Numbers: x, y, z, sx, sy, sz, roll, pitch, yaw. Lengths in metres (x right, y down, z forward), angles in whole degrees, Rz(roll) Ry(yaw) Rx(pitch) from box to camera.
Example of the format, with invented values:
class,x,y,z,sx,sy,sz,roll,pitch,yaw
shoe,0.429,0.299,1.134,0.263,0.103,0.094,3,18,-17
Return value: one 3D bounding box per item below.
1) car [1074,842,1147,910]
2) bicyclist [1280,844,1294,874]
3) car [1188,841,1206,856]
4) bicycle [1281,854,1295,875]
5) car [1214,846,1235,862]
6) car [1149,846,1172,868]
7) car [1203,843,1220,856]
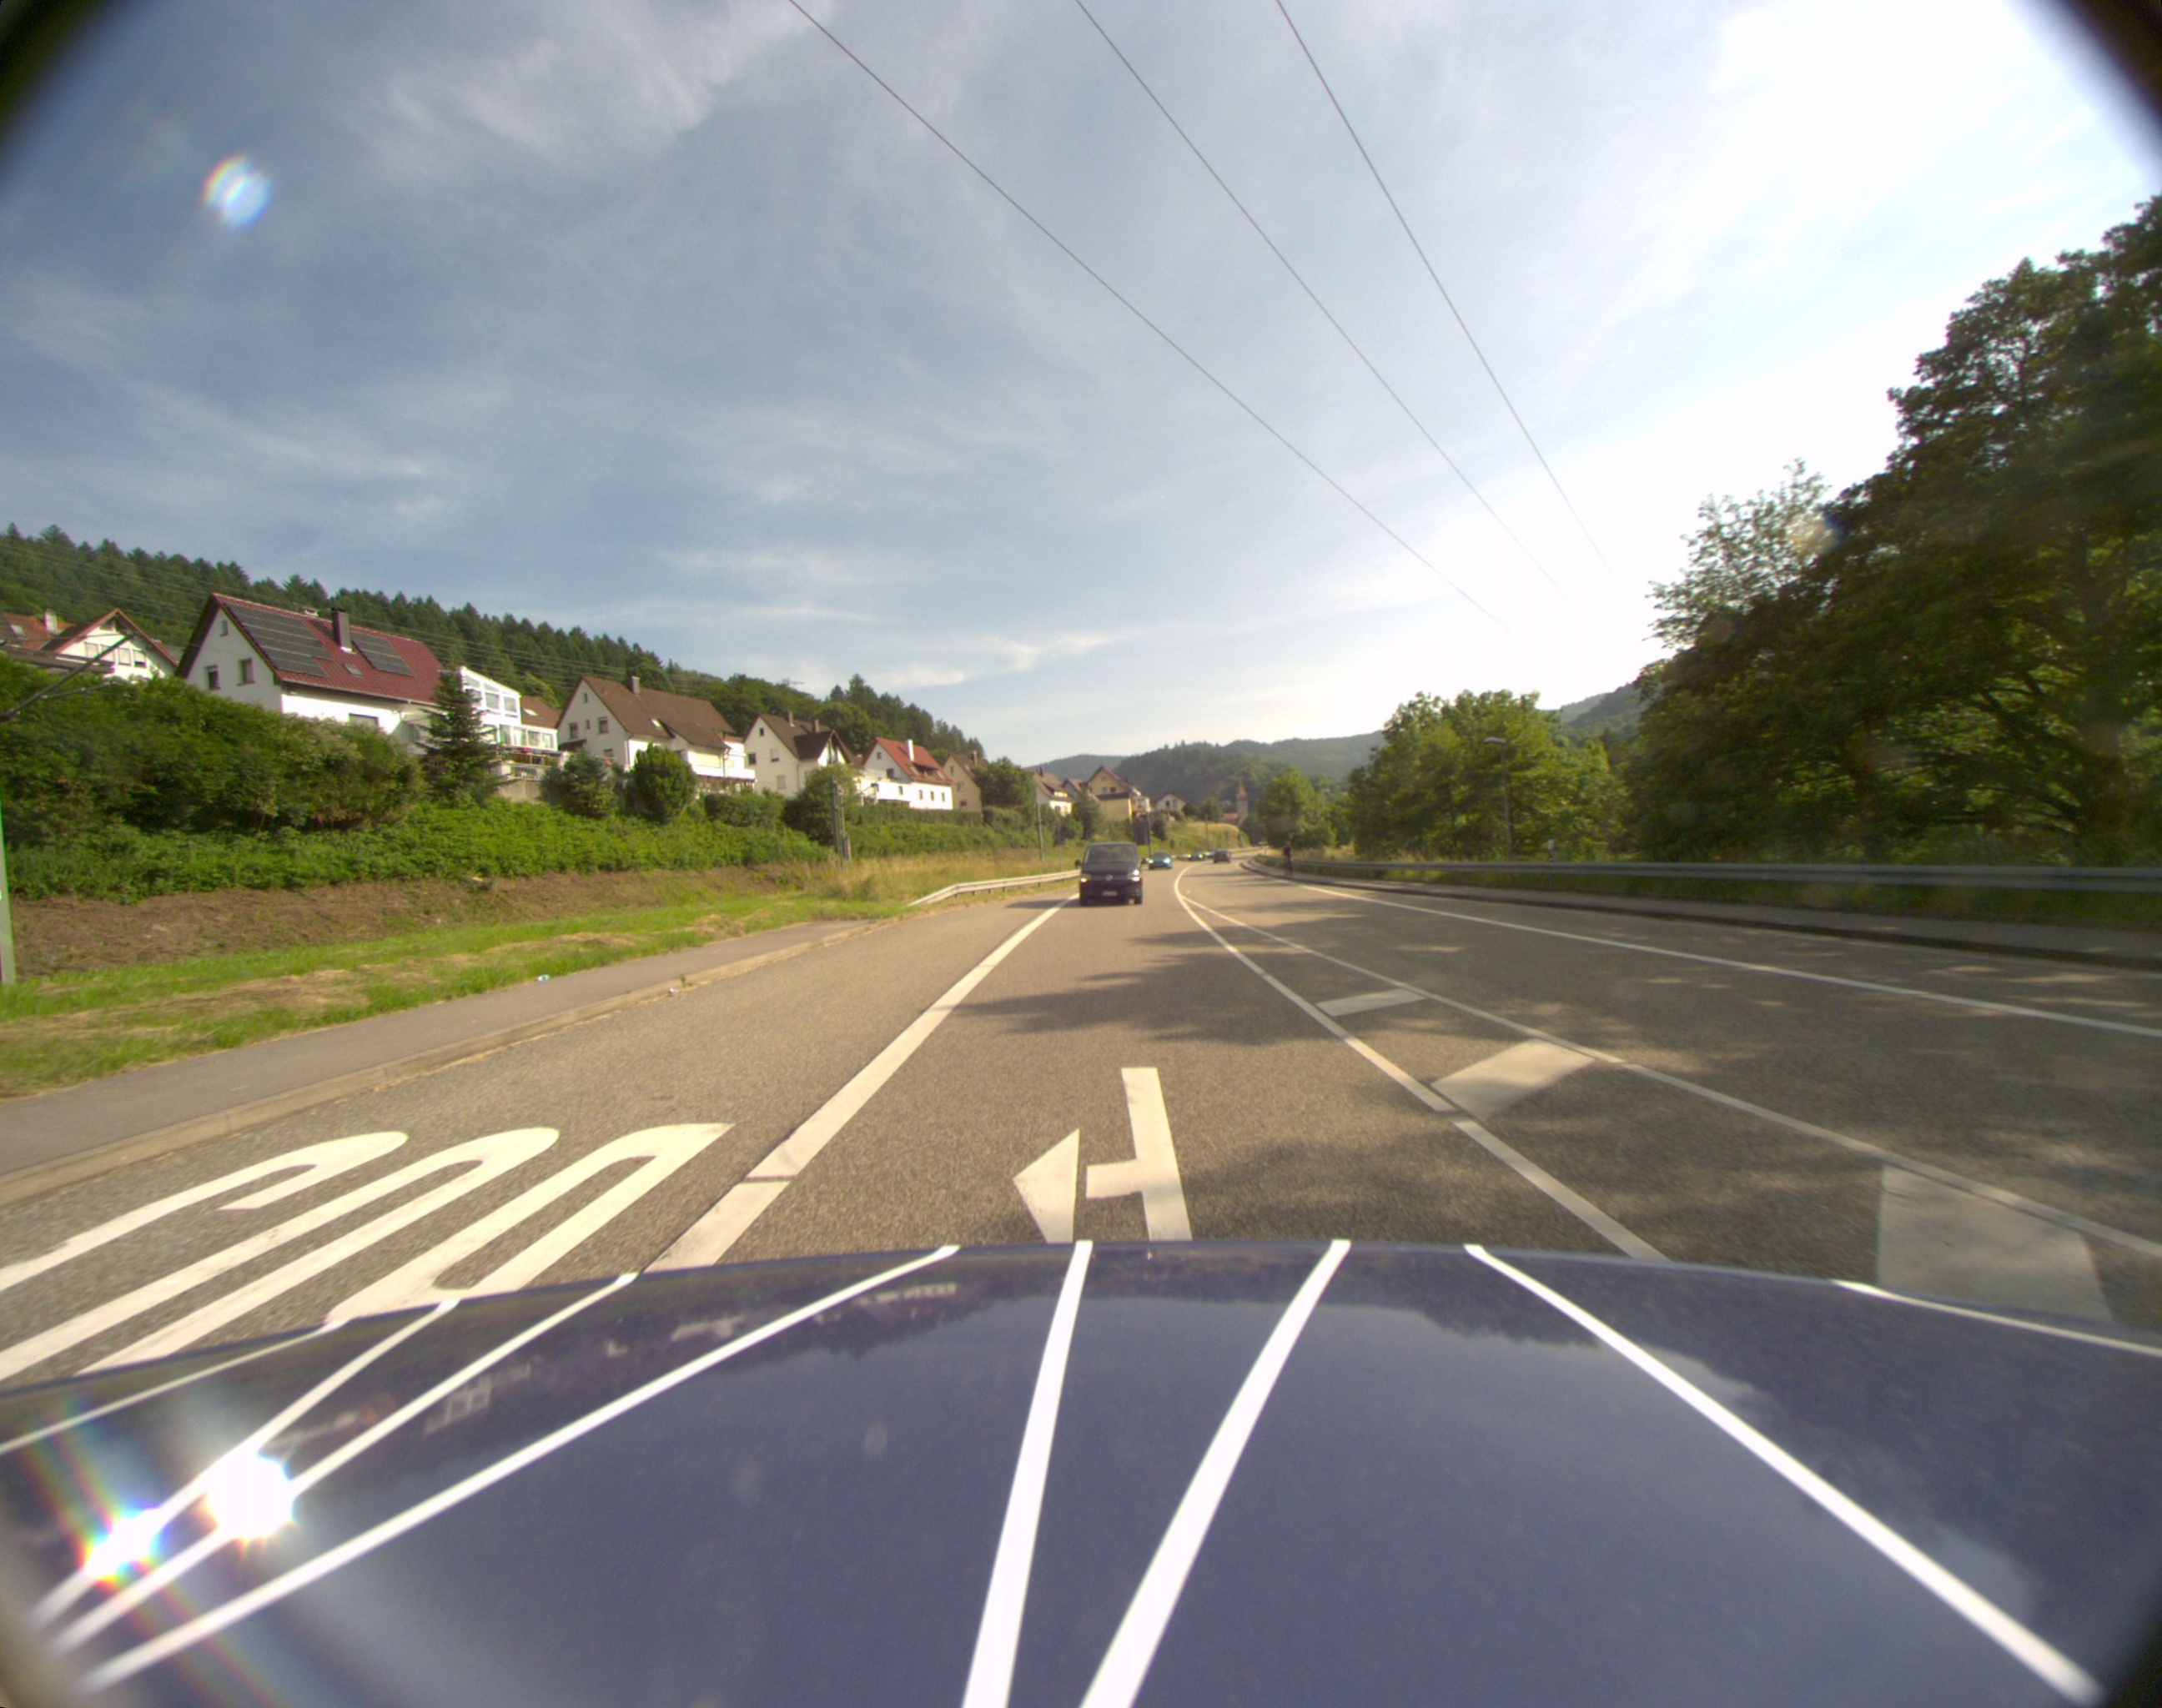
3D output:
class,x,y,z,sx,sy,sz,roll,pitch,yaw
car,1.037,0.627,24.220,2.017,1.905,4.313,-2,0,5
bicyclist,11.150,0.261,41.159,0.558,1.577,1.036,-6,-1,14
car,14.708,-0.750,96.143,1.883,1.735,4.182,-2,1,12
bicycle,11.197,0.557,41.192,0.558,1.039,2.231,-6,-1,14
car,15.515,0.017,82.187,1.893,1.480,4.003,-3,1,15
car,6.766,0.218,64.824,1.884,1.735,4.180,0,1,6
car,18.926,-0.699,110.319,1.883,1.735,4.183,-2,1,16
